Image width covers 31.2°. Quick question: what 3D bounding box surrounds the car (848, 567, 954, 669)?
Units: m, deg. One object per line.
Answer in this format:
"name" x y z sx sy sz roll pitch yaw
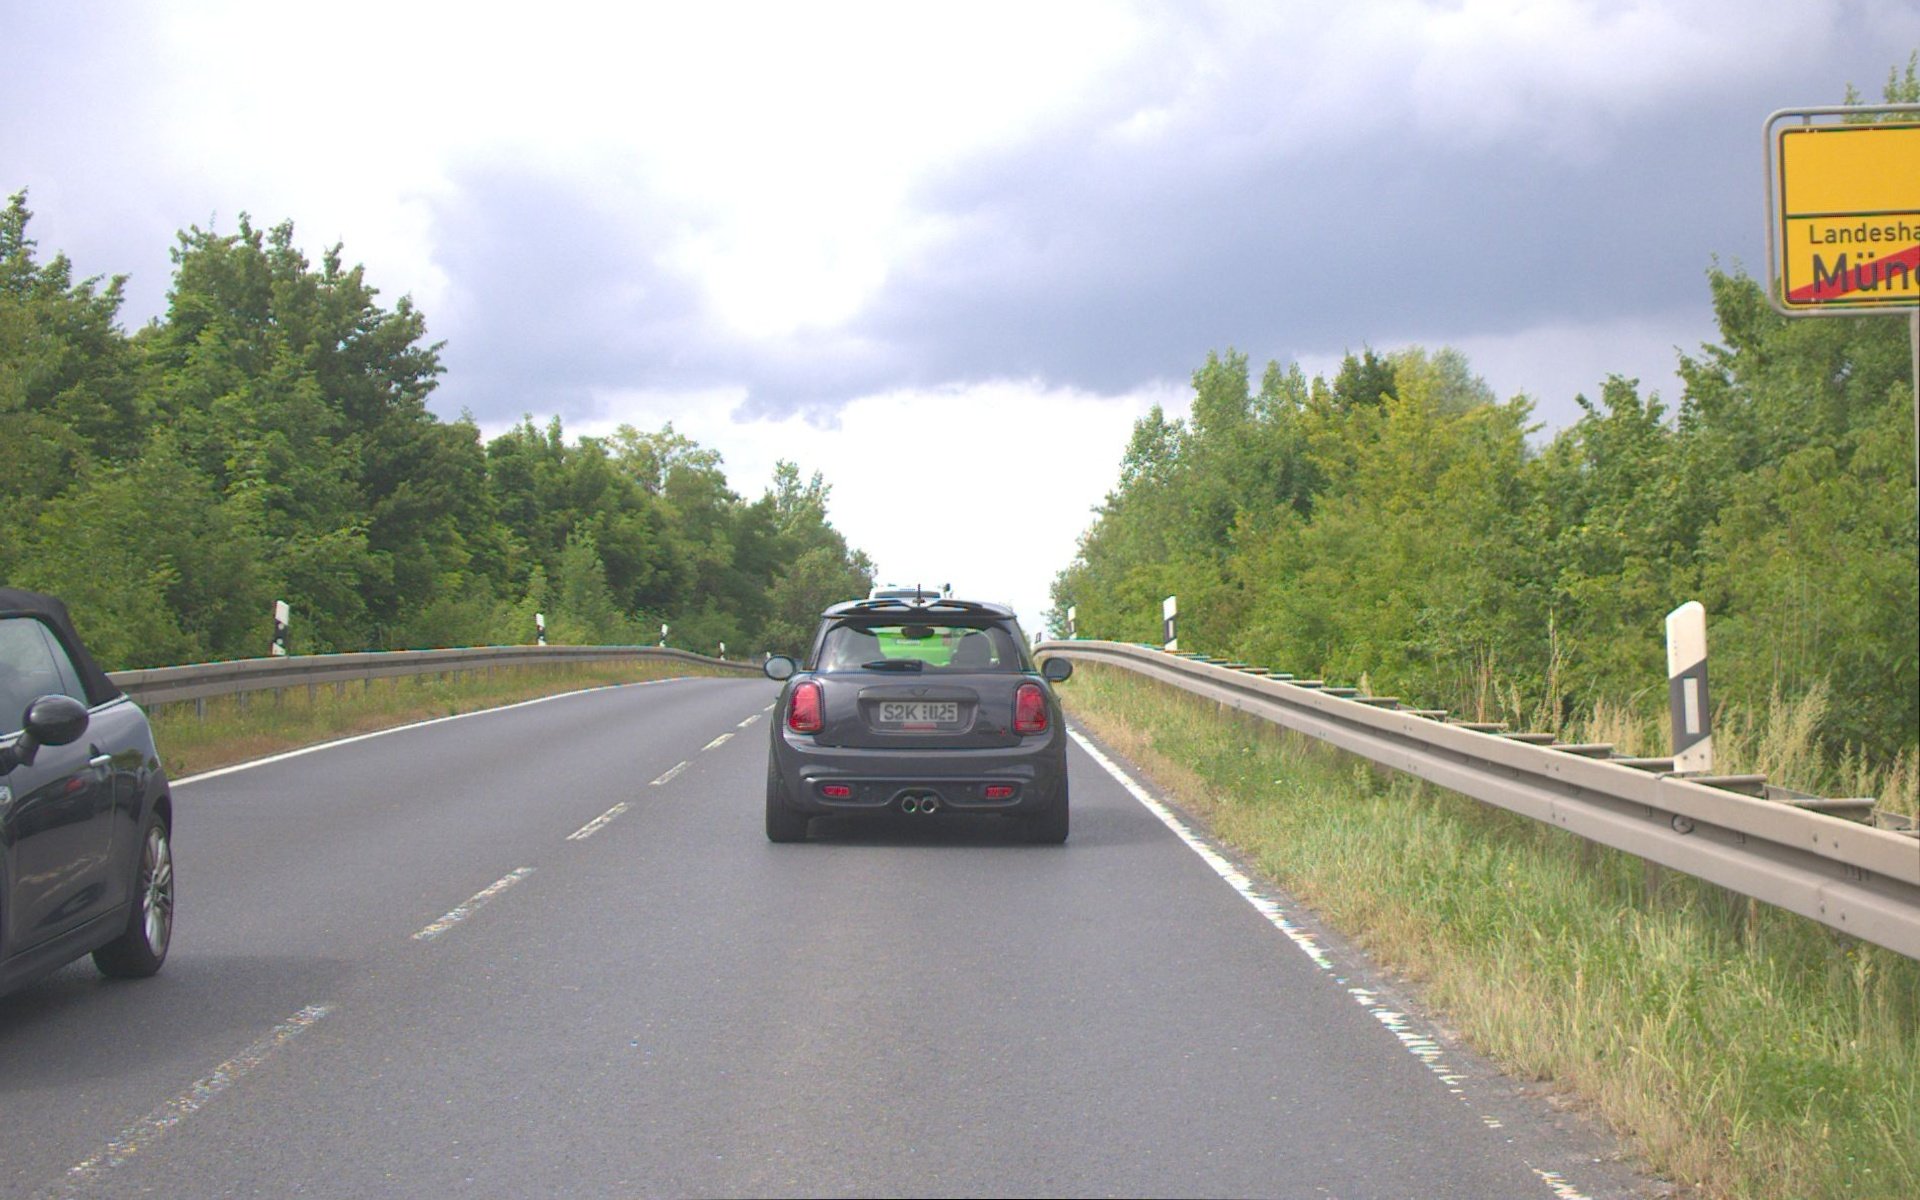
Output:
"car" -1.177 0.360 70.166 2.022 2.006 4.000 -1 0 1

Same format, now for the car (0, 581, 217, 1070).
"car" -3.782 0.667 11.356 1.835 1.415 4.000 0 1 -1

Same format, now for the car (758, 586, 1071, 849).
"car" -0.207 0.647 21.094 1.732 1.451 4.000 0 0 1
